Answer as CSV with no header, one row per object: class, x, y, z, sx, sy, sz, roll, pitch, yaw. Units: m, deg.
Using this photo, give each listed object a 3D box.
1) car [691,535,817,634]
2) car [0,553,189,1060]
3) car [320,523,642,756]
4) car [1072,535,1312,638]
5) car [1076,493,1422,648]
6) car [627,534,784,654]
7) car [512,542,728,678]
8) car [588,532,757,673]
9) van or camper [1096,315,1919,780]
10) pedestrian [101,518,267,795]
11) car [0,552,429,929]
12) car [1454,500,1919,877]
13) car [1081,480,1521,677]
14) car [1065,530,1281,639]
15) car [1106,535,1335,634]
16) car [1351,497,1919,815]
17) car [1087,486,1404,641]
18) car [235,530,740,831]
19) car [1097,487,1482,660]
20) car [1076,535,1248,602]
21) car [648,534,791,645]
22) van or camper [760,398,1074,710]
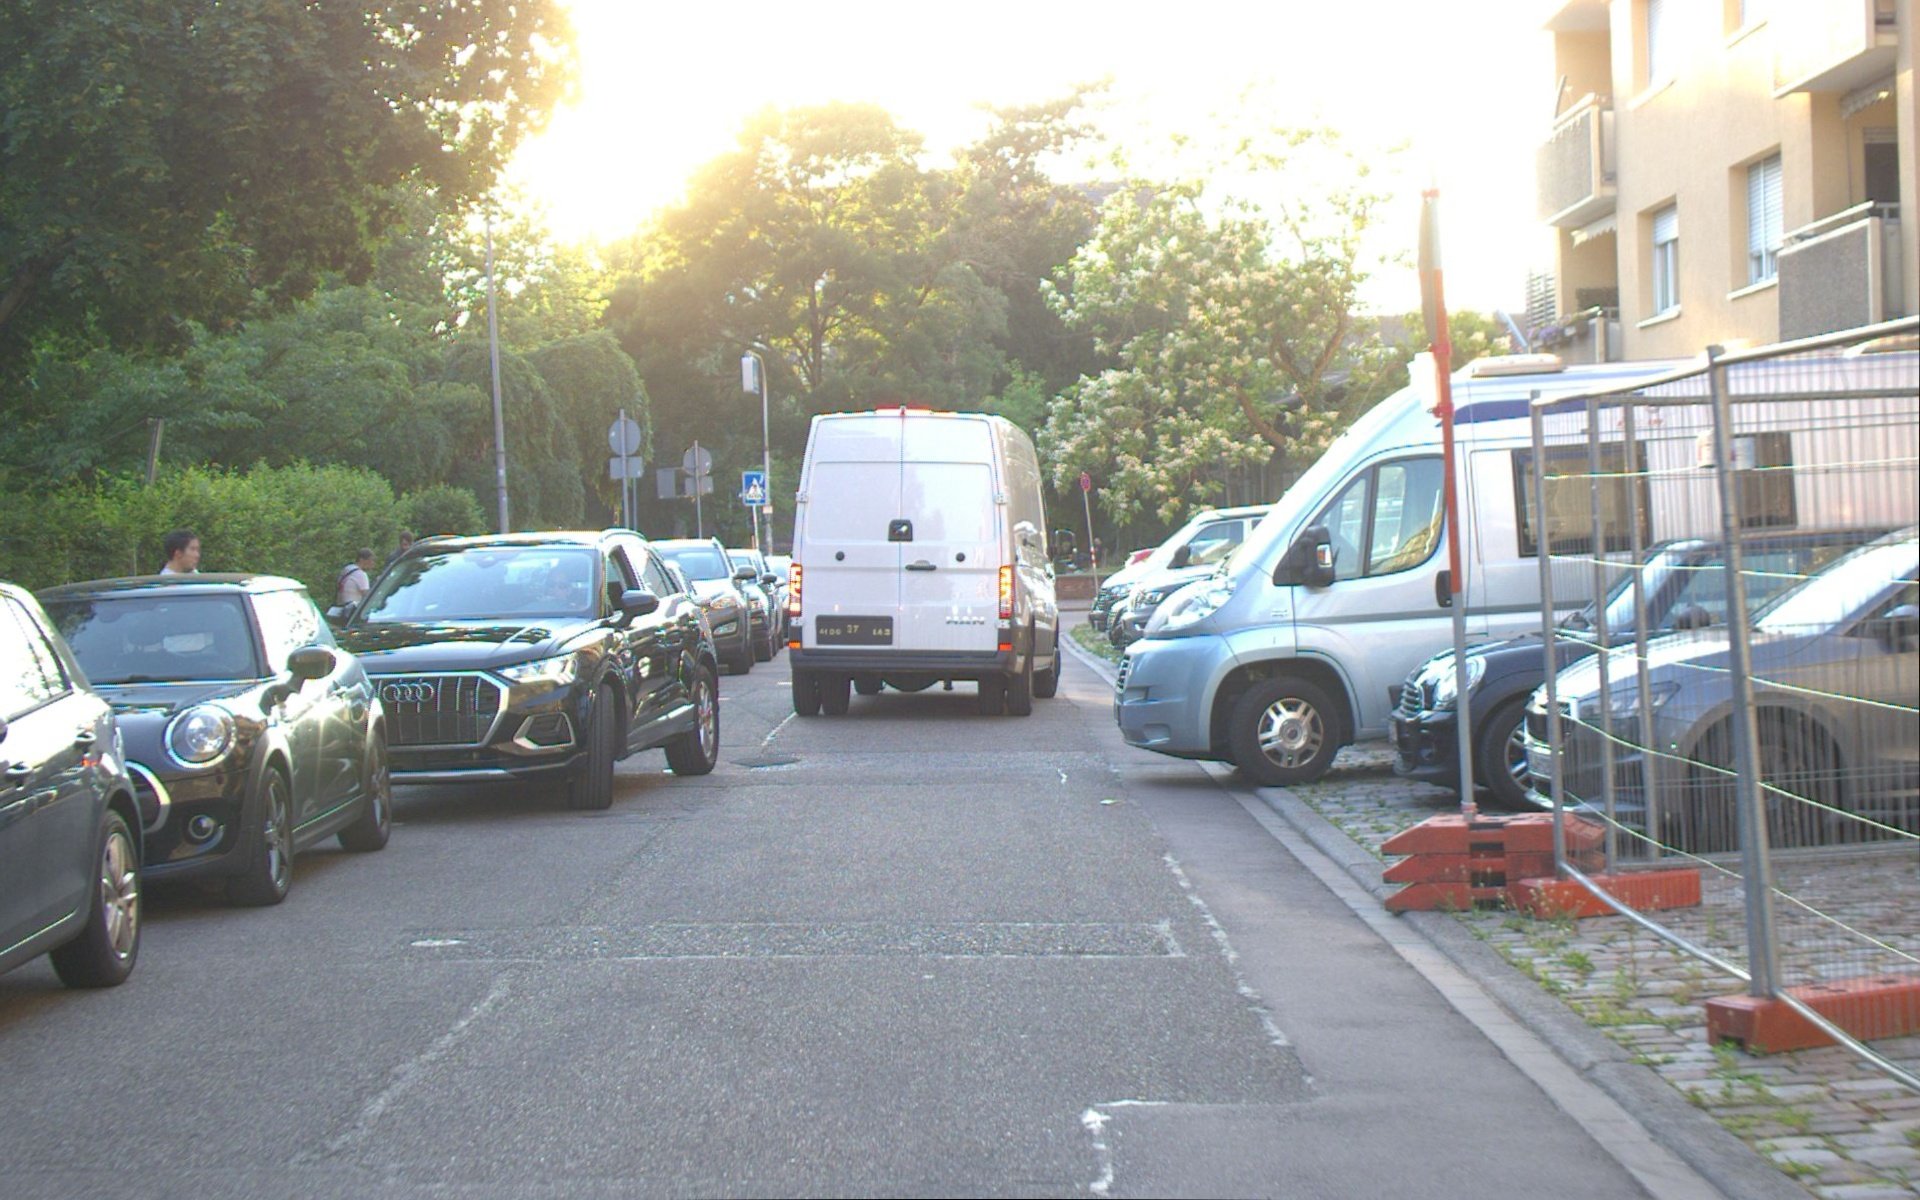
car,-3.454,-0.281,58.227,1.993,1.612,4.000,0,1,-1
car,-3.736,0.645,10.663,1.715,1.491,4.361,-3,1,-1
car,-3.733,0.265,27.441,1.783,1.625,4.000,-3,1,2
car,3.929,-0.246,58.757,3.987,1.722,2.000,0,1,1
car,4.047,-0.429,48.698,4.706,2.138,2.000,0,1,-1
car,-3.527,-0.115,48.197,1.993,1.612,4.000,0,1,-1
car,-3.674,0.072,37.769,1.993,1.393,4.000,0,1,0
car,-3.565,-0.002,42.990,1.993,1.656,4.001,0,1,-4
van or camper,3.871,-0.332,21.580,5.928,2.760,2.110,0,1,-1
pedestrian,-5.200,0.366,23.080,0.937,1.824,0.787,0,1,-1
car,-3.661,0.556,15.933,1.637,1.473,3.992,-3,1,1
car,4.515,0.296,15.935,3.986,1.510,2.020,-4,1,-4
car,3.770,-0.256,38.581,4.706,2.138,2.000,0,1,-1
car,3.965,-0.304,64.451,3.987,2.007,2.000,0,1,2
car,4.652,-0.289,61.787,3.987,1.722,2.000,0,1,1
car,4.211,0.261,18.648,3.935,1.481,1.787,-3,-1,2
car,4.172,-0.540,50.804,4.496,2.223,2.032,0,1,0
car,-2.671,0.396,20.577,1.805,1.564,4.564,-2,1,8
car,4.169,-0.349,44.018,4.706,2.138,2.000,0,1,-1
car,4.913,-0.781,84.057,3.986,1.612,2.000,0,1,-3
car,-3.631,-0.187,52.510,1.993,1.612,4.000,0,1,-1
van or camper,-0.258,-0.432,31.389,2.454,2.538,6.083,1,1,3
